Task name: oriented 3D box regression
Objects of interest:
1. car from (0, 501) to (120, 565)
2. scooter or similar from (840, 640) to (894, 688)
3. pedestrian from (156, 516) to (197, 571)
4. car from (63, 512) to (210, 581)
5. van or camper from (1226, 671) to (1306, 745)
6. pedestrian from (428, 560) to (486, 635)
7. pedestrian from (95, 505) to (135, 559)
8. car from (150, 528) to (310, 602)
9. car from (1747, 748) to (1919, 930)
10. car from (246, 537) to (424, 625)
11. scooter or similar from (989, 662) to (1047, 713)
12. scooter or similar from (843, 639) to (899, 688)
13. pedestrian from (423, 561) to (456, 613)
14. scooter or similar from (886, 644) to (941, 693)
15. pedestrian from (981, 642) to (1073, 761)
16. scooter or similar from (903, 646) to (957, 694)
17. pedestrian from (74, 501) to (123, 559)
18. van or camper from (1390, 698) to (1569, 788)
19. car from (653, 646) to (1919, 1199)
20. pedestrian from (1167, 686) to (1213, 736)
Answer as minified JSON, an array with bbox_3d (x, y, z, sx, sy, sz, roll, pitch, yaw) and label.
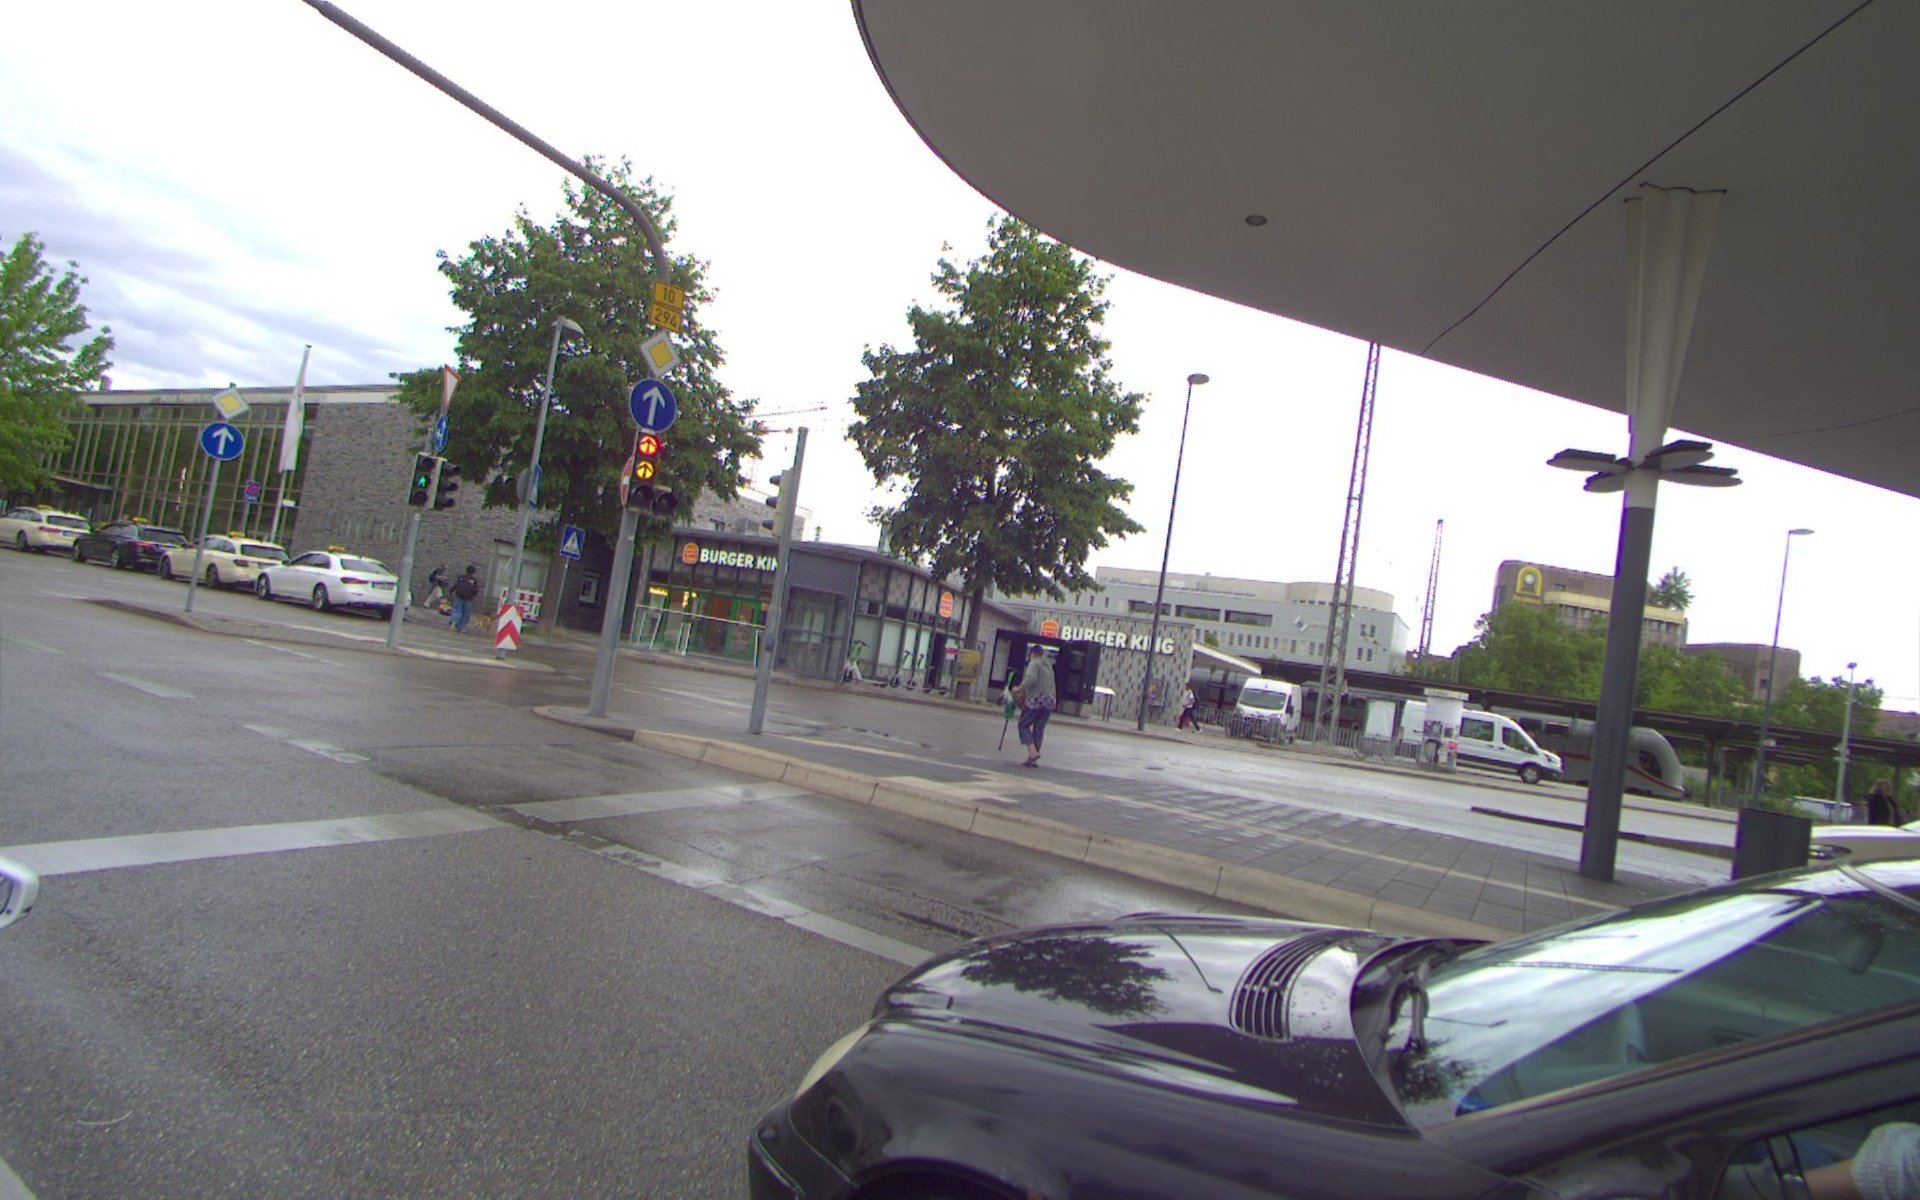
[{"bbox_3d":[-31.426,-2.371,34.531,4.736,1.618,2.000,7,-2,25],"label":"car"},{"bbox_3d":[-2.622,1.806,28.413,1.313,1.157,0.464,9,-2,-31],"label":"scooter or similar"},{"bbox_3d":[-31.532,-2.288,40.494,0.906,2.036,0.813,7,-2,31],"label":"pedestrian"},{"bbox_3d":[-25.832,-1.695,31.520,4.662,1.542,1.918,7,-2,30],"label":"car"},{"bbox_3d":[12.547,4.409,41.006,2.072,2.491,5.975,7,-3,25],"label":"van or camper"},{"bbox_3d":[-12.327,-0.056,24.668,0.700,1.693,0.809,7,-2,31],"label":"pedestrian"},{"bbox_3d":[-34.353,-2.775,40.896,0.906,2.036,0.813,7,-2,32],"label":"pedestrian"},{"bbox_3d":[-20.624,-1.001,28.378,4.588,1.468,1.851,7,-2,30],"label":"car"},{"bbox_3d":[11.239,2.790,10.558,4.360,1.665,1.807,7,-5,32],"label":"car"},{"bbox_3d":[-15.847,-0.505,25.451,4.538,1.608,1.779,7,-2,30],"label":"car"},{"bbox_3d":[1.719,2.593,29.769,1.503,1.284,0.467,8,-1,-4],"label":"scooter or similar"},{"bbox_3d":[-2.454,1.756,27.755,1.309,1.167,0.465,9,-2,-21],"label":"scooter or similar"},{"bbox_3d":[-17.570,-0.434,33.960,0.556,1.652,0.562,7,-2,30],"label":"pedestrian"},{"bbox_3d":[-1.405,2.062,30.342,1.503,1.284,0.467,8,-1,-4],"label":"scooter or similar"},{"bbox_3d":[0.865,1.301,12.845,0.753,1.374,0.738,7,-3,31],"label":"pedestrian"},{"bbox_3d":[-0.942,2.160,31.167,1.503,1.284,0.467,8,-1,-4],"label":"scooter or similar"},{"bbox_3d":[-32.881,-2.660,38.400,0.904,2.036,0.815,8,-1,8],"label":"pedestrian"},{"bbox_3d":[20.346,5.545,39.537,5.873,2.491,2.108,7,-2,32],"label":"van or camper"},{"bbox_3d":[1.774,1.145,1.435,4.362,1.493,1.754,5,-8,31],"label":"car"},{"bbox_3d":[8.040,3.866,35.184,0.910,1.552,1.096,9,-2,-36],"label":"pedestrian"}]
